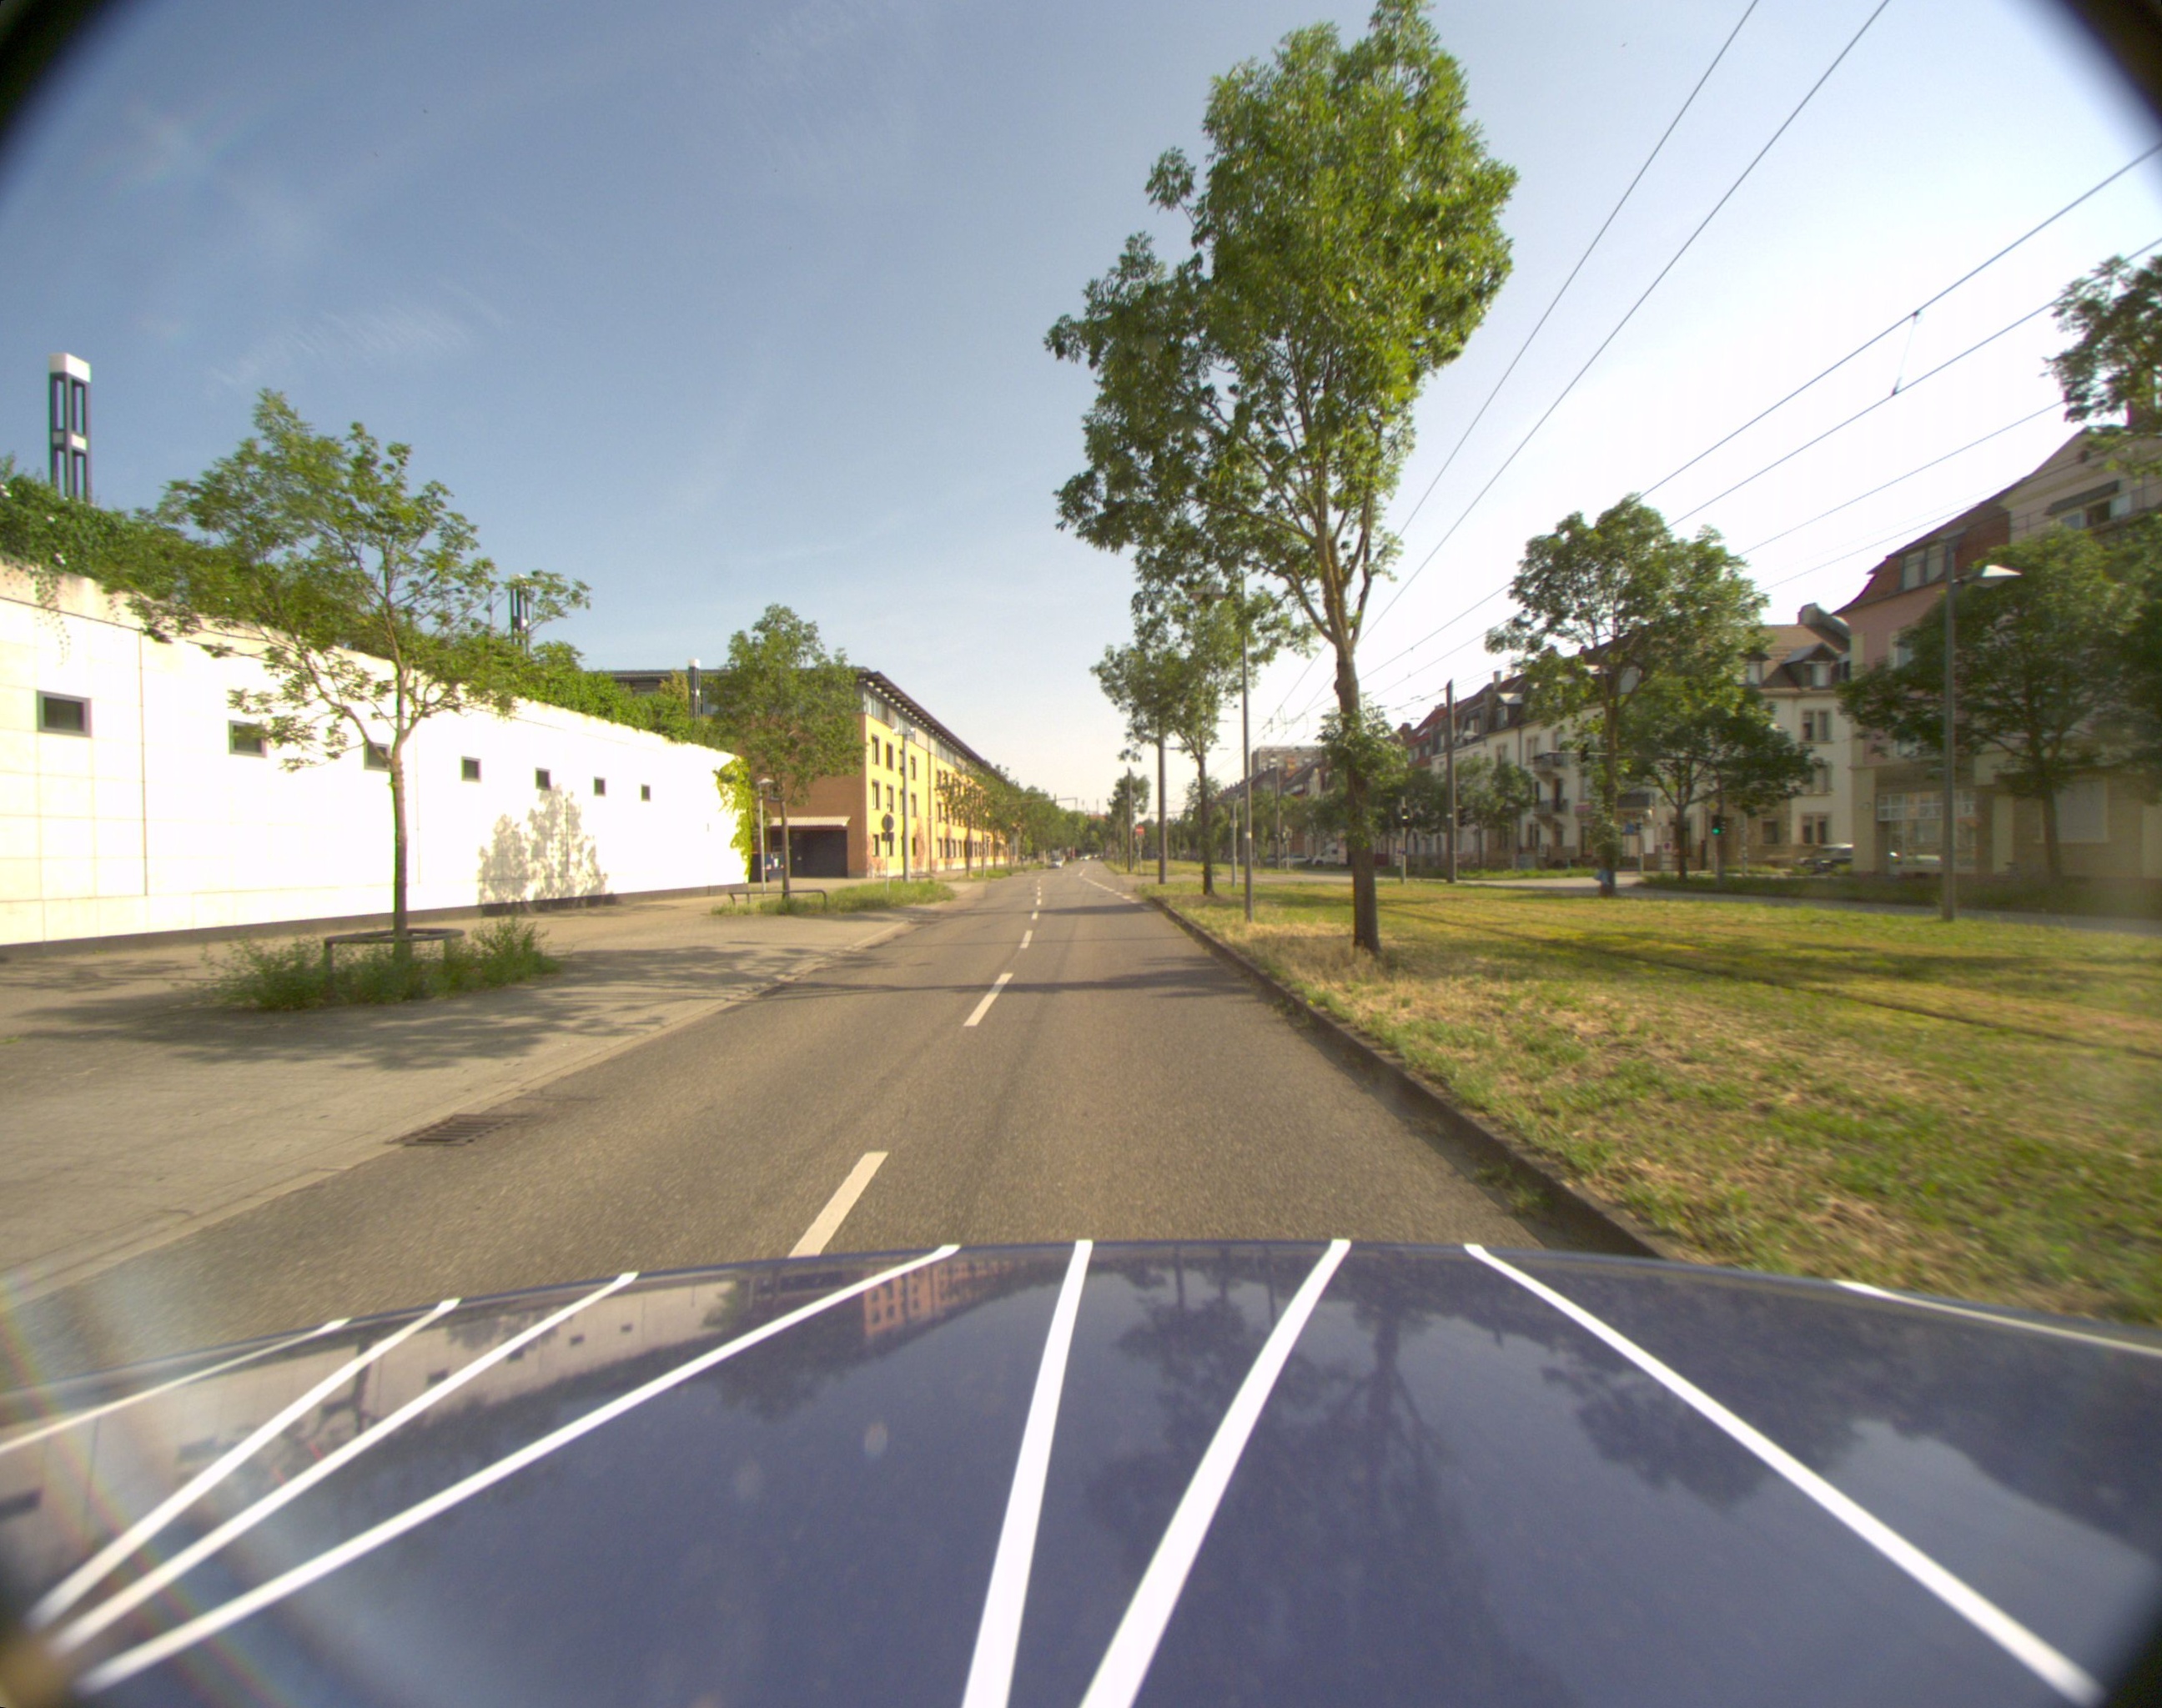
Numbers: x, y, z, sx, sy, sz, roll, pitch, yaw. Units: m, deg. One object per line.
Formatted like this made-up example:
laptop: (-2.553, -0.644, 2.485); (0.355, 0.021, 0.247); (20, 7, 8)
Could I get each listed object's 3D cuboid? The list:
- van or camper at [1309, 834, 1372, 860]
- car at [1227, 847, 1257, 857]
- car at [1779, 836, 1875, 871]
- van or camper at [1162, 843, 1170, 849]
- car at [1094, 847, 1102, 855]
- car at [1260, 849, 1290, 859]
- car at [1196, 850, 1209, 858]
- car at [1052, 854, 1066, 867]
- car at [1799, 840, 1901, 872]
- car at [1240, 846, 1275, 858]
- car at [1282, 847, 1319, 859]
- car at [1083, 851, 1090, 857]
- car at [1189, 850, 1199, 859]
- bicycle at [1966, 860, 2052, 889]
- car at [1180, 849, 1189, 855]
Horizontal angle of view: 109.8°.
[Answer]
van or camper: (27.850, -0.724, 81.663); (5.910, 2.559, 2.203); (-2, 1, 36)
car: (28.398, -0.317, 134.158); (4.765, 1.477, 2.026); (-2, 1, 33)
car: (45.108, -0.031, 46.006); (3.997, 1.839, 1.833); (-3, 1, -1)
van or camper: (28.891, -2.735, 258.612); (1.956, 2.085, 5.352); (-3, 1, 1)
car: (5.104, -0.916, 228.348); (1.998, 2.002, 4.000); (-3, 1, 2)
car: (27.646, -0.060, 108.169); (3.677, 1.234, 1.665); (-2, 1, 36)
car: (22.807, -0.014, 142.426); (1.817, 1.425, 3.925); (-3, 1, 1)
car: (-2.867, 0.866, 97.610); (1.629, 1.476, 3.365); (-3, 1, 0)
car: (43.932, 0.092, 43.453); (3.997, 1.611, 1.833); (-3, 1, -1)
car: (28.194, -0.292, 121.505); (4.939, 1.716, 1.860); (-2, 1, 36)
car: (27.470, -0.169, 95.137); (4.004, 1.309, 1.665); (-2, 1, 36)
car: (1.371, 0.069, 195.929); (1.693, 1.476, 3.365); (-3, 1, 0)
car: (23.367, 0.044, 157.800); (1.768, 1.646, 4.001); (-3, 1, 5)
bicycle: (30.950, 0.669, 25.379); (0.469, 0.884, 1.947); (-3, 1, 0)
car: (26.553, -0.501, 195.163); (1.952, 1.451, 4.648); (-3, 1, 3)
